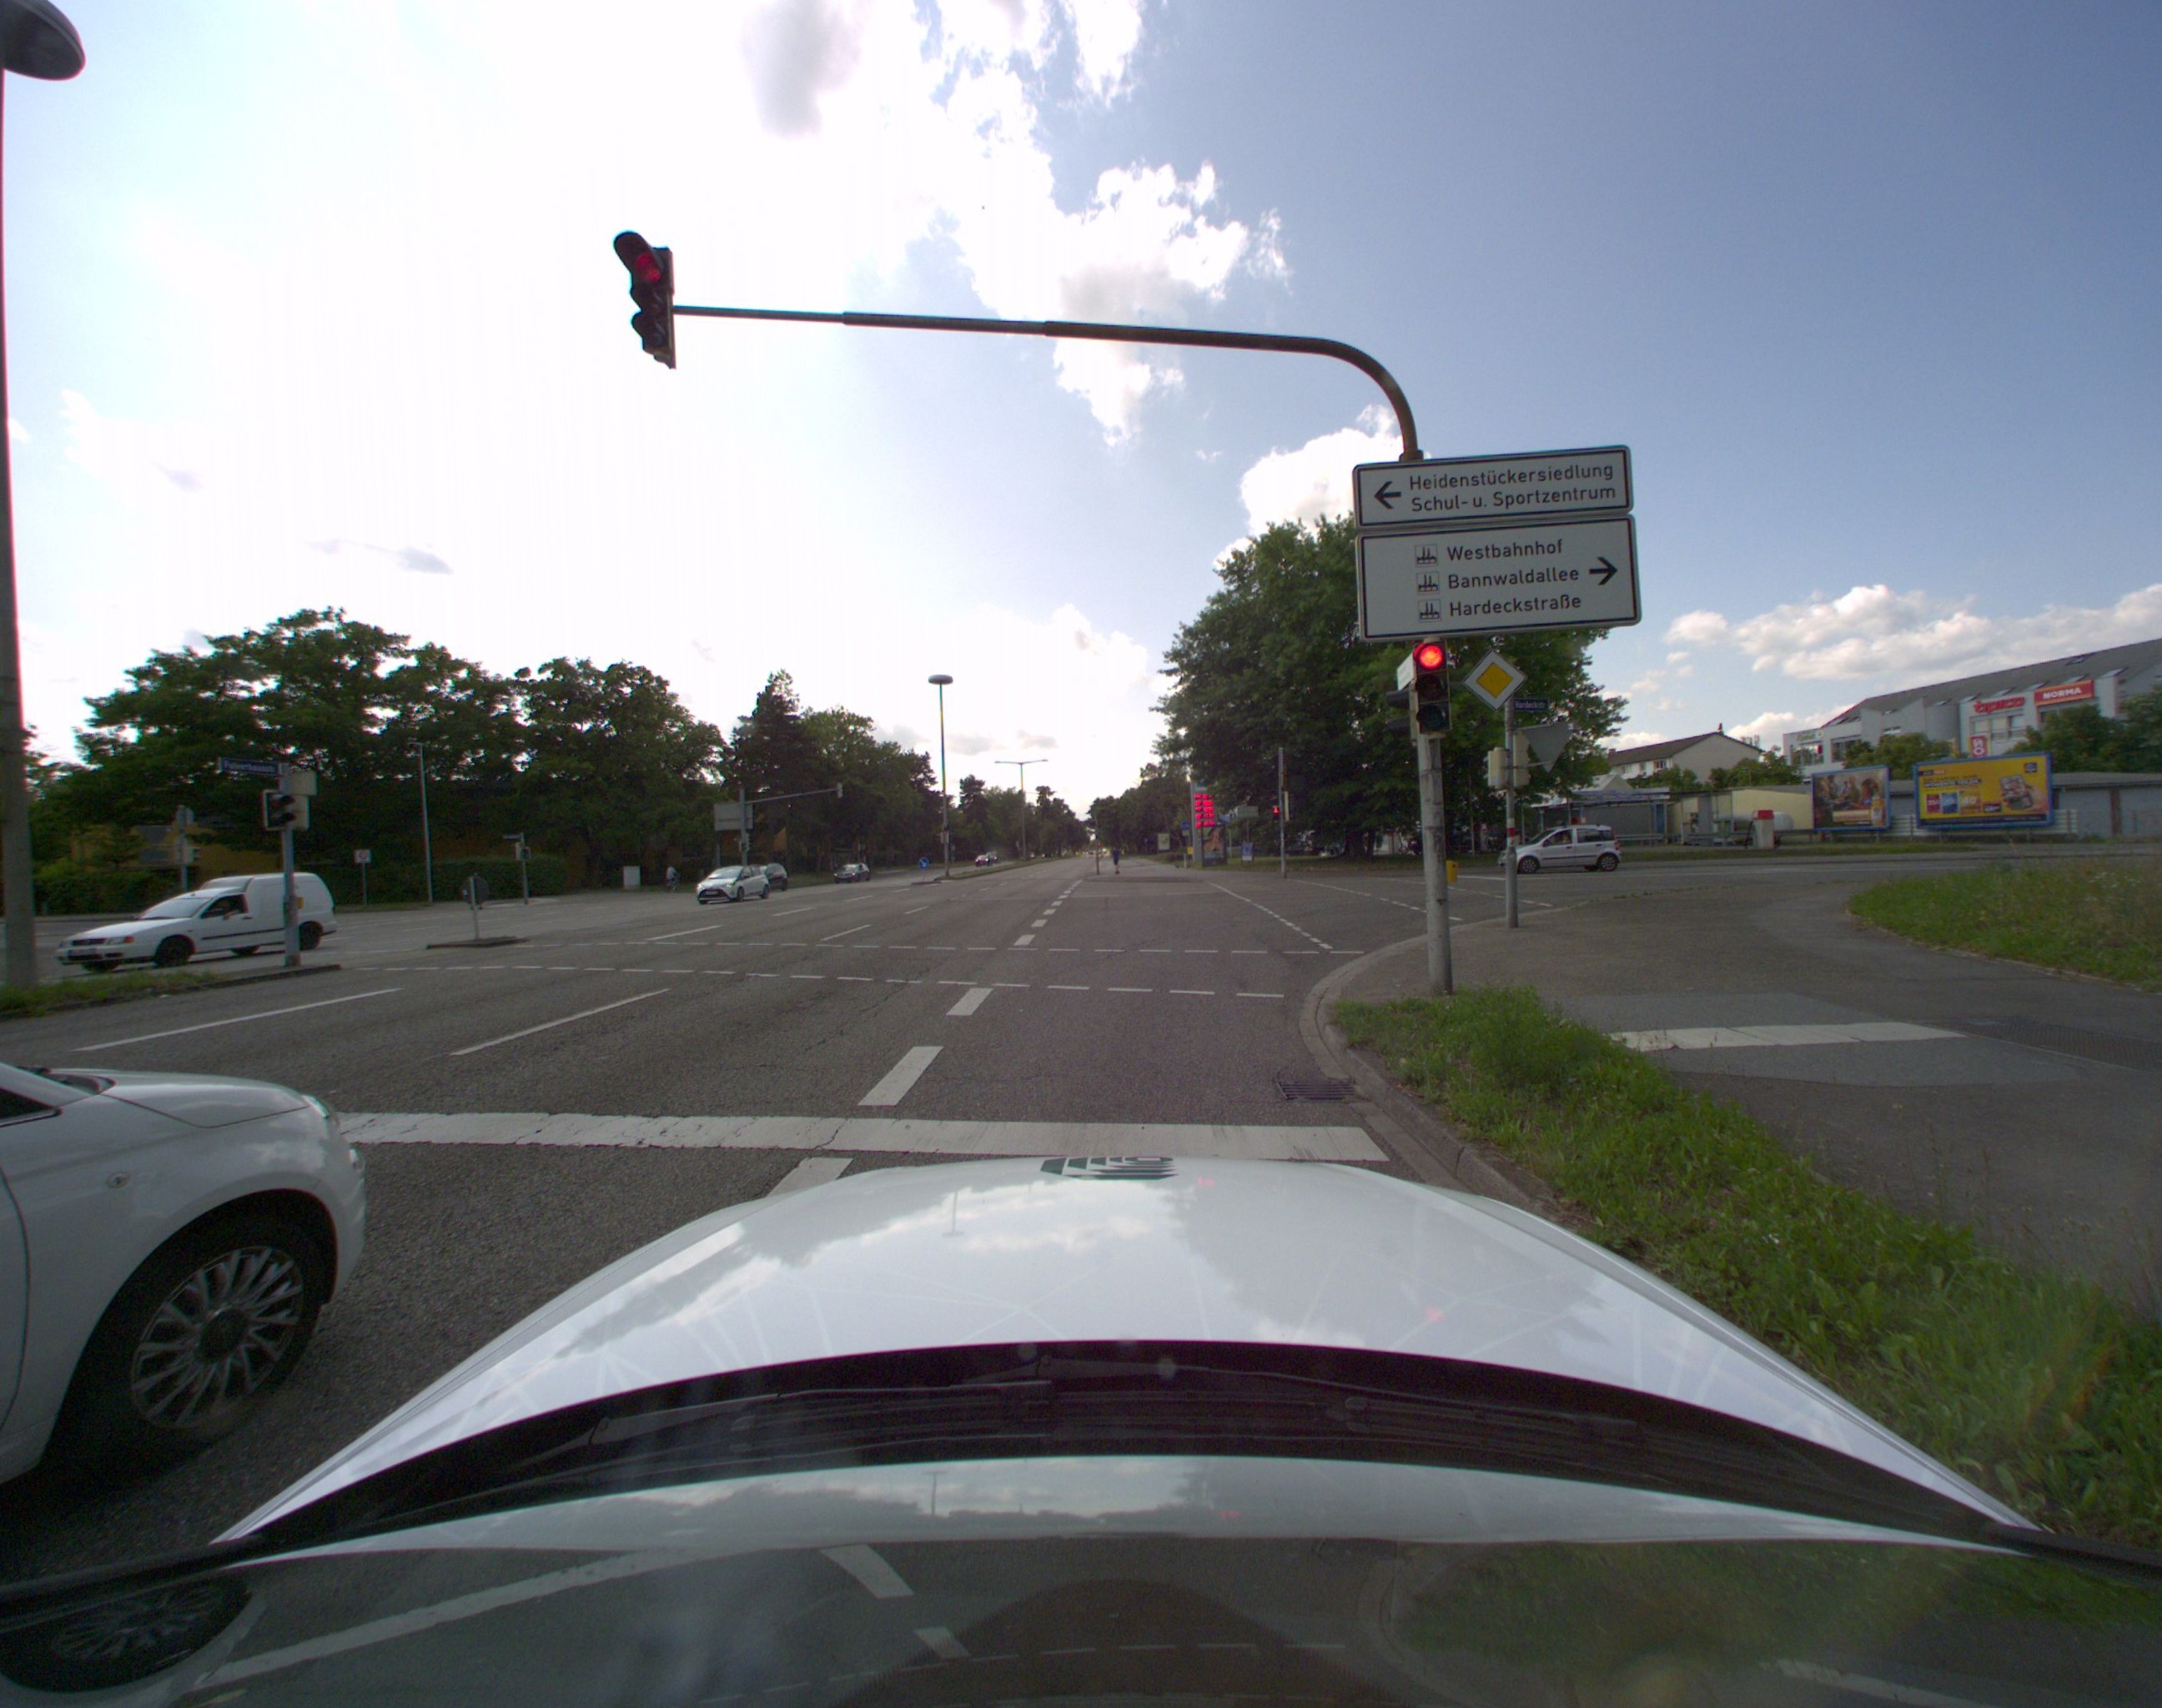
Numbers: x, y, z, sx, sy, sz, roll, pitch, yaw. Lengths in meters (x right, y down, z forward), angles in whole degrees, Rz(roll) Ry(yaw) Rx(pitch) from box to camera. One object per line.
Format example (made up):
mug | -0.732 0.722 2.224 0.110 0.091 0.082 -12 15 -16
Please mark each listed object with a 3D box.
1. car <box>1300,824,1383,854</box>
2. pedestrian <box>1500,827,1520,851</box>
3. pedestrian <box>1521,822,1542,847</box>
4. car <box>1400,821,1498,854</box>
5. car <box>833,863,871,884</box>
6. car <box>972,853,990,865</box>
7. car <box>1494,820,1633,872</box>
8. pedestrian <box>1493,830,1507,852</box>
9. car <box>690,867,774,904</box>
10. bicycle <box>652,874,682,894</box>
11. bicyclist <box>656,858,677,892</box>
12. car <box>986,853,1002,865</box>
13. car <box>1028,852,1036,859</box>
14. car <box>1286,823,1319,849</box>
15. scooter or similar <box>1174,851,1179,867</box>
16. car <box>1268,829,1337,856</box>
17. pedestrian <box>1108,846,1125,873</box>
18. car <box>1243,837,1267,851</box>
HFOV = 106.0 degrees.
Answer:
car | 18.546 -1.066 57.967 5.179 1.826 2.147 -3 0 -9
pedestrian | 21.832 -0.747 41.445 0.649 1.190 0.757 0 -1 -42
pedestrian | 22.588 -0.972 40.853 0.649 1.255 0.757 0 -1 -42
car | 20.564 -0.915 45.656 4.548 1.596 2.147 -3 0 -9
car | -17.210 1.466 61.326 1.589 1.372 4.081 -3 0 0
car | -13.041 0.691 106.076 1.766 1.465 4.454 -3 0 -1
car | 15.583 -0.246 26.480 3.571 1.517 1.565 -2 0 14
pedestrian | 30.897 -0.962 60.033 0.650 1.544 0.625 -3 0 8
car | -14.506 1.292 34.055 1.746 1.308 3.695 -4 -1 2
bicycle | -25.186 1.830 49.581 0.752 1.119 2.114 -3 0 0
bicyclist | -25.212 1.274 49.530 0.749 2.013 0.831 -3 0 -1
car | -14.207 0.793 132.964 1.759 1.857 4.819 -3 1 2
car | -12.500 0.294 207.770 1.854 1.705 4.456 -3 0 1
car | 22.929 -1.831 84.578 1.744 2.453 5.750 -3 0 0
scooter or similar | 6.086 0.332 51.932 0.220 0.979 1.273 -3 0 2
car | 18.733 -0.974 68.903 5.167 2.004 2.152 -3 0 -2
pedestrian | 2.038 0.327 46.888 0.726 1.531 0.756 -3 0 -15
car | 18.733 -1.040 87.620 1.744 1.454 3.741 -3 0 0
